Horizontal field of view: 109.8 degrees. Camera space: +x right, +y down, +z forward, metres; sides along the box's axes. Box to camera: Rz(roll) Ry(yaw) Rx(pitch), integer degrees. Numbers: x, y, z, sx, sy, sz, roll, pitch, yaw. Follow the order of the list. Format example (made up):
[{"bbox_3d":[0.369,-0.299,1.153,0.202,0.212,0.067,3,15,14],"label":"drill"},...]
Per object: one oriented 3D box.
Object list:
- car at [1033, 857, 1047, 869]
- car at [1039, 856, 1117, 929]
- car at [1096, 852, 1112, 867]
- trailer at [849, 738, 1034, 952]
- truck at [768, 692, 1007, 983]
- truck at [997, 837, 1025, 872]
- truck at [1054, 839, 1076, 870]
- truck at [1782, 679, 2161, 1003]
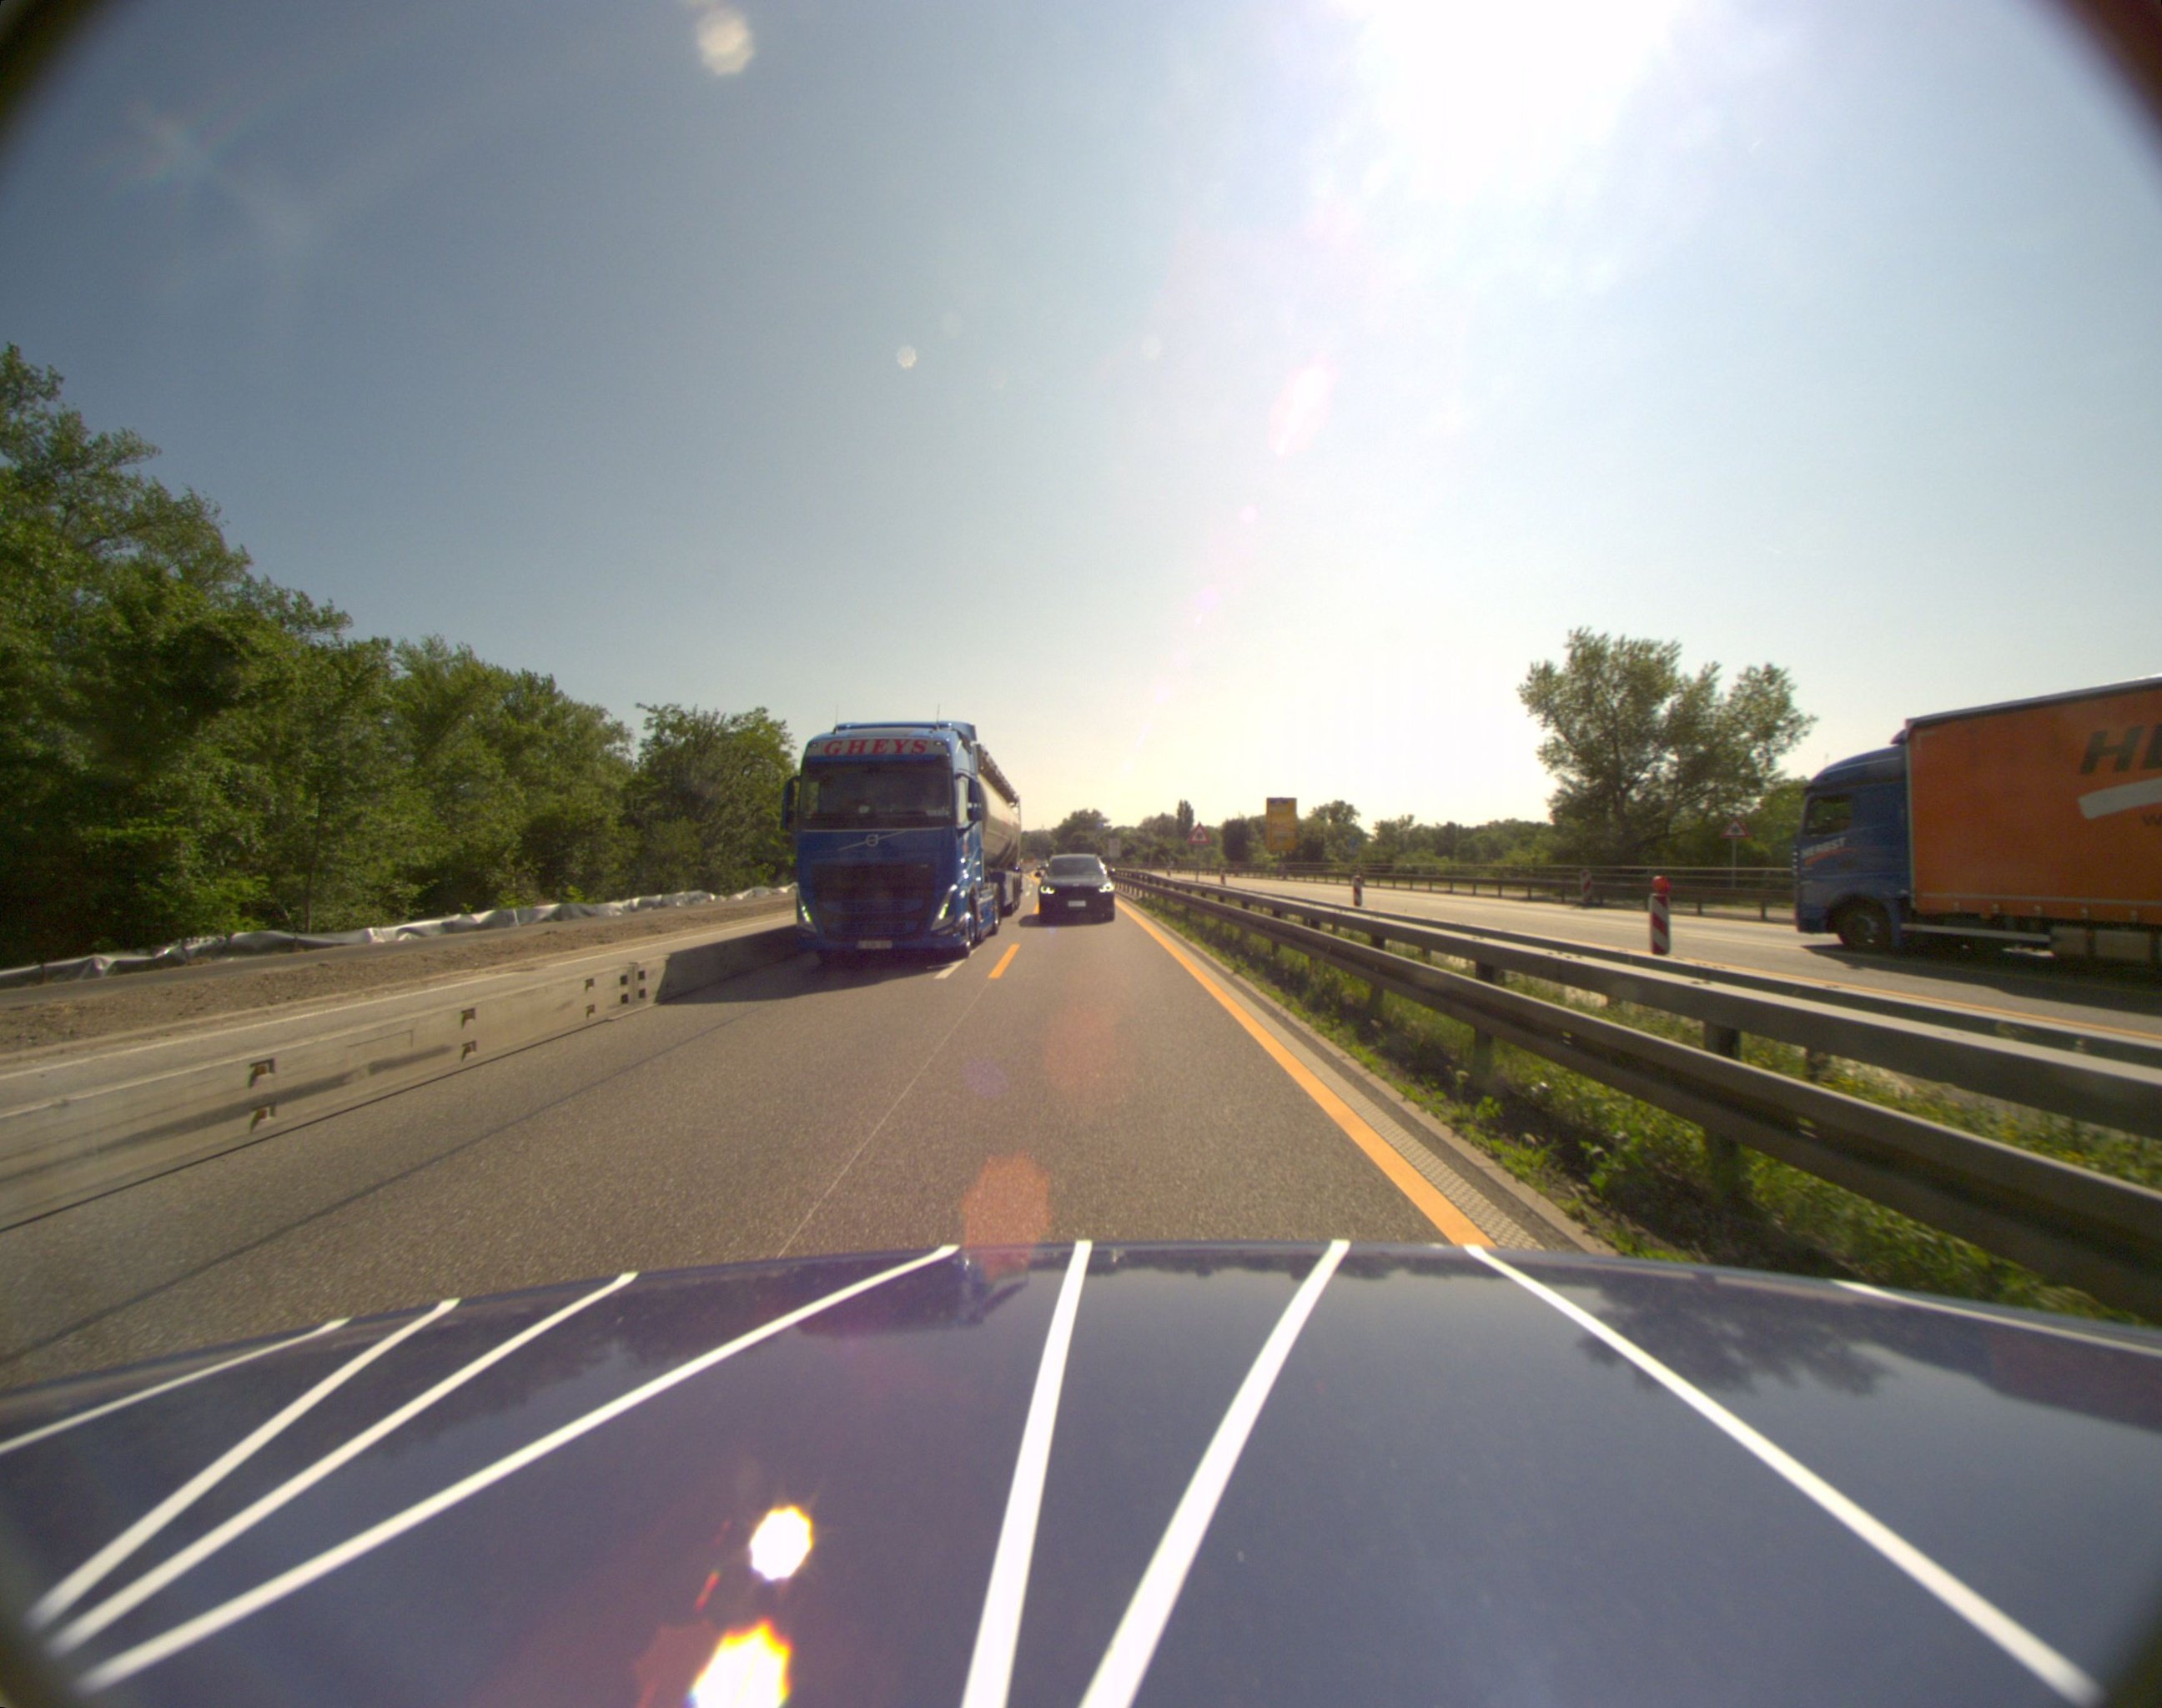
[{"bbox_3d":[-6.538,1.427,121.568,1.999,2.002,4.000,1,0,0],"label":"car"},{"bbox_3d":[-0.100,0.897,20.050,1.789,1.651,4.486,-2,0,-1],"label":"car"},{"bbox_3d":[4.117,1.001,137.467,2.152,2.645,5.543,0,0,-5],"label":"car"},{"bbox_3d":[-3.115,-0.134,21.086,2.701,4.113,12.614,1,0,0],"label":"trailer"},{"bbox_3d":[-3.096,-0.202,14.430,2.701,4.078,7.300,1,0,-1],"label":"truck"},{"bbox_3d":[-8.623,0.040,92.353,2.863,3.961,8.659,1,0,-9],"label":"truck"},{"bbox_3d":[-2.228,0.102,105.503,2.861,3.961,8.665,1,0,-1],"label":"truck"},{"bbox_3d":[15.086,-0.198,9.486,3.045,4.067,10.625,-2,0,2],"label":"truck"}]
